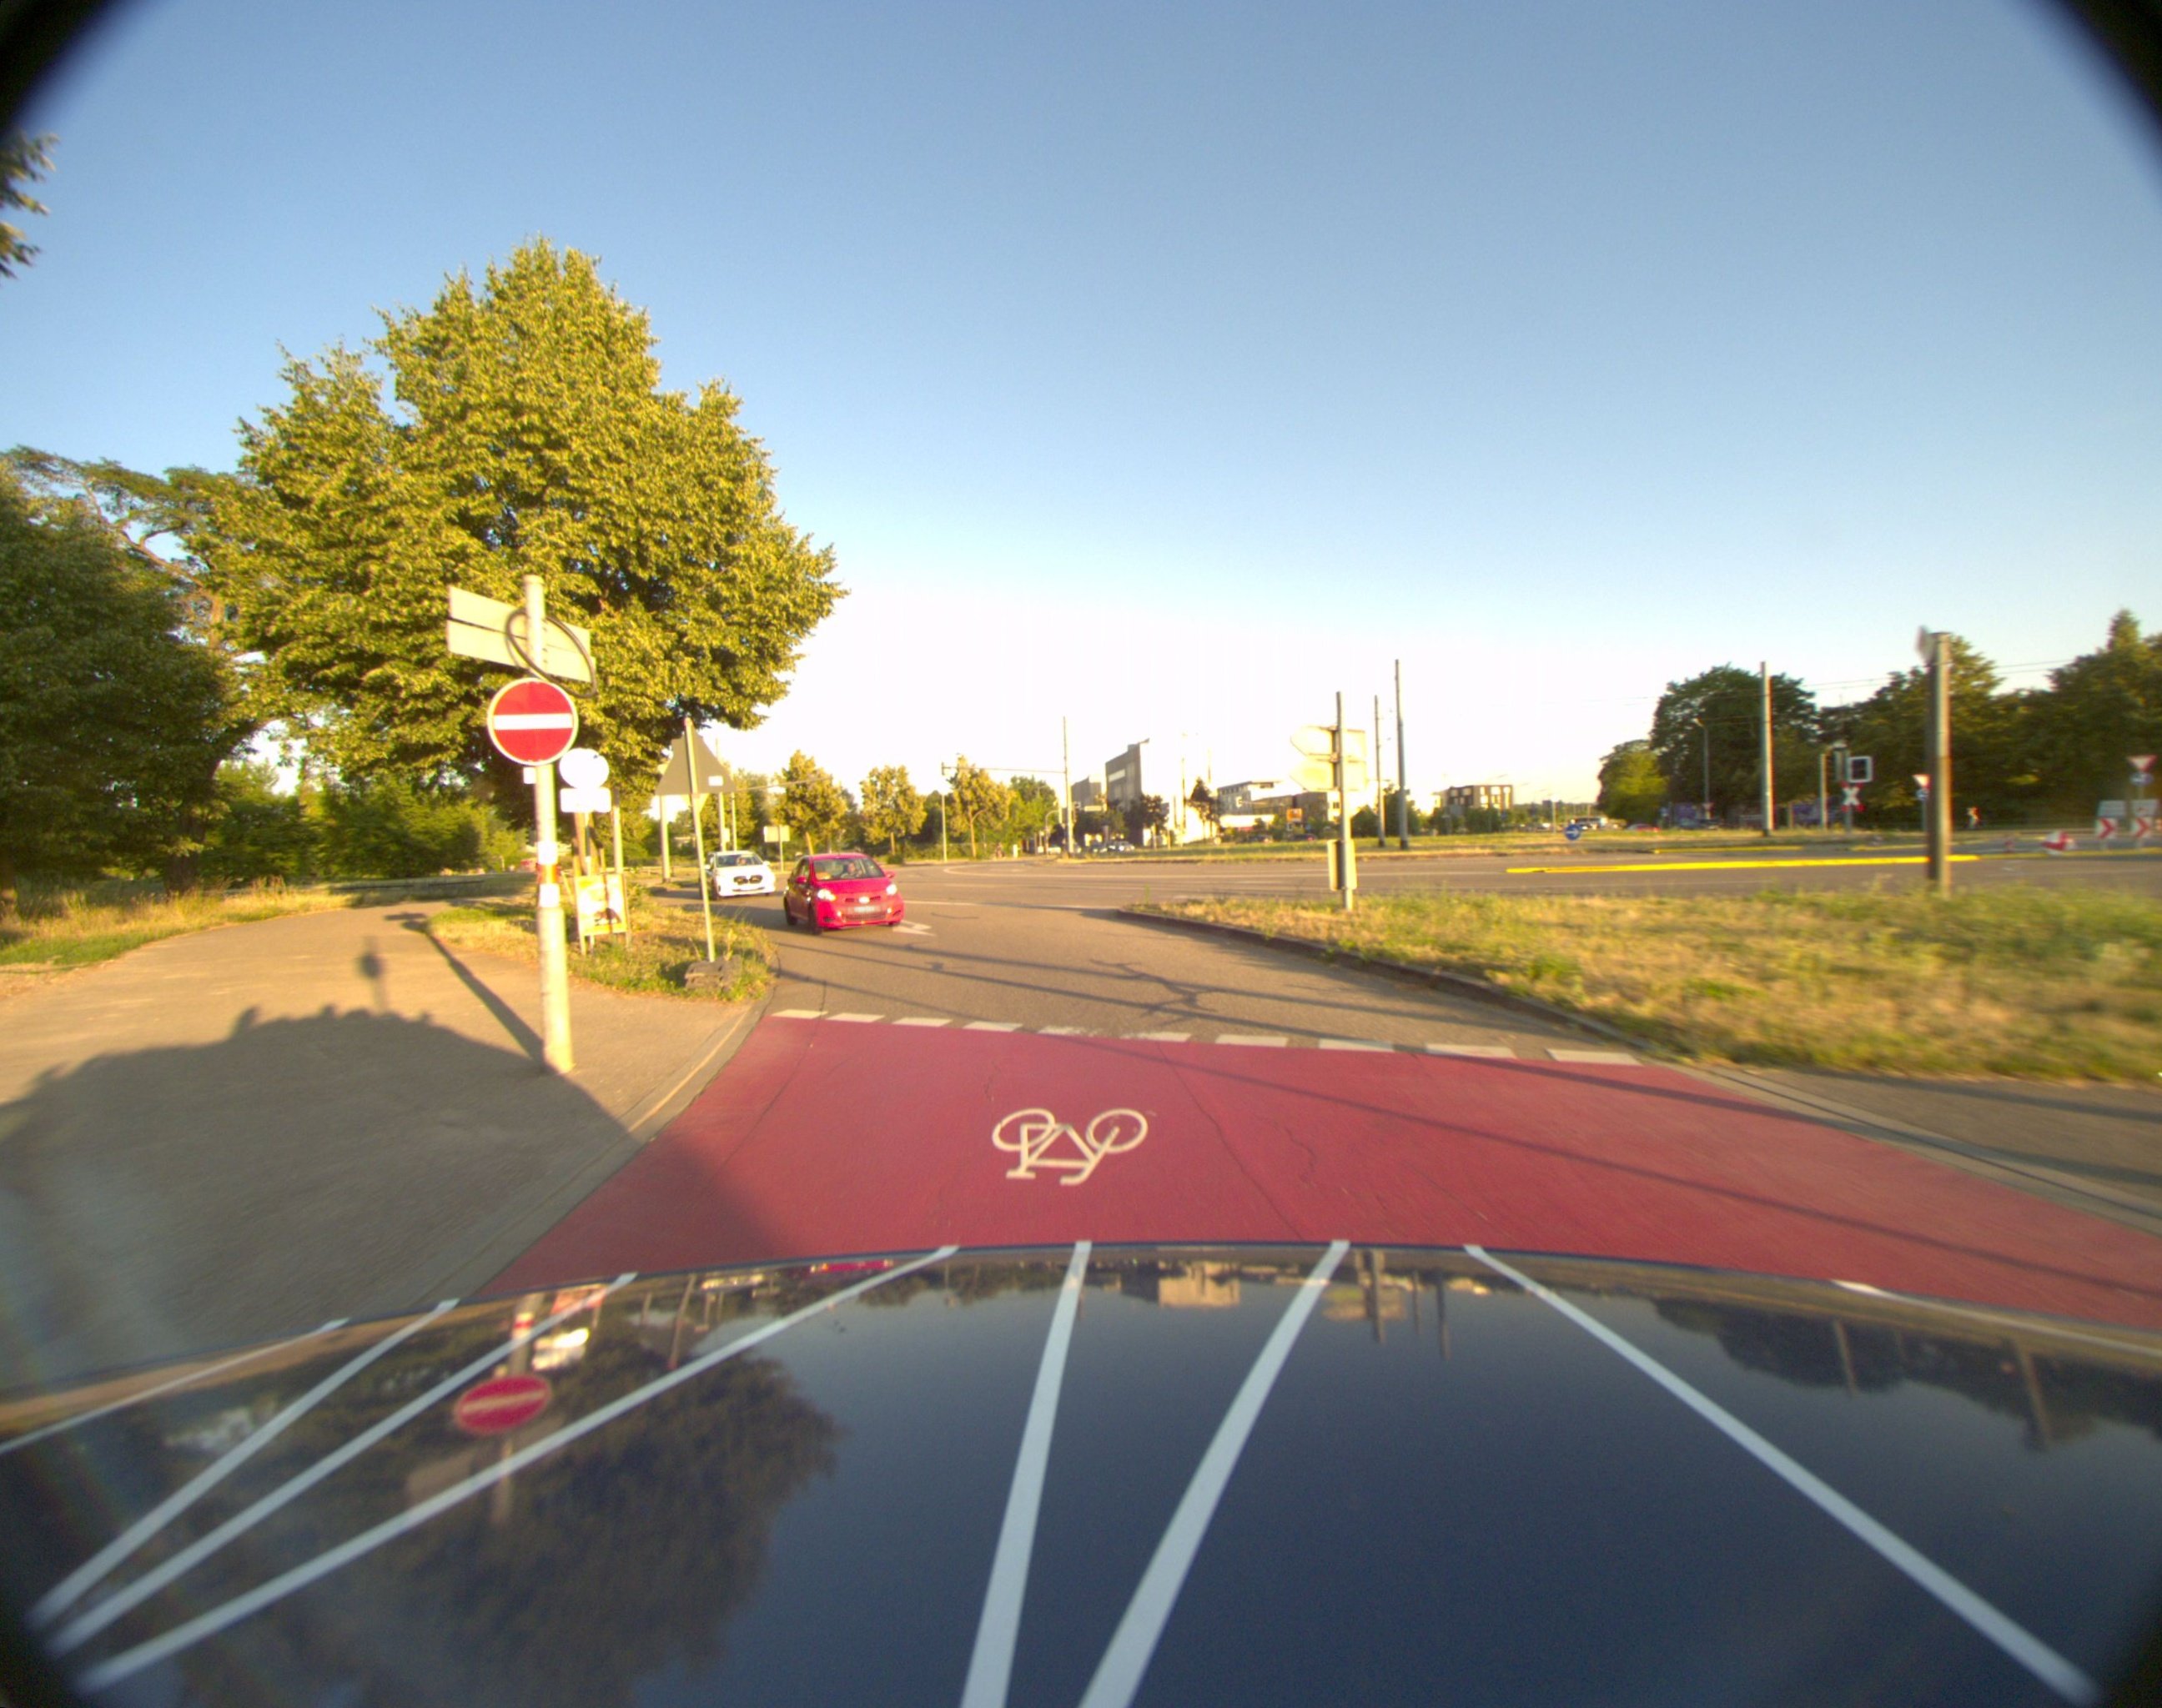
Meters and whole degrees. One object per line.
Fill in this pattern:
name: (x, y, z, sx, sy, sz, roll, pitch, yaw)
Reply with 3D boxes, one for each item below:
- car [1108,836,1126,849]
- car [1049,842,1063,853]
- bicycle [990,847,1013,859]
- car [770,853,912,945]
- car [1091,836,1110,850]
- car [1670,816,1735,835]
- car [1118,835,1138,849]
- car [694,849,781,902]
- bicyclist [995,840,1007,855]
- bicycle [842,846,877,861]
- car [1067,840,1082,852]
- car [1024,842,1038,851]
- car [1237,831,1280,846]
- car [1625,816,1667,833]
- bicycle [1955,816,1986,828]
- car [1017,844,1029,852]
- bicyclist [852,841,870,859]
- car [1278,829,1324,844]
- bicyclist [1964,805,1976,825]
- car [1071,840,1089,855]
car: (4.874, -1.589, 102.800, 1.872, 1.616, 4.189, -2, 2, -5)
car: (-3.884, -1.063, 118.375, 1.873, 1.616, 4.189, -2, 2, -6)
bicycle: (-8.693, -0.125, 83.365, 2.331, 1.172, 0.809, -3, 2, -22)
car: (-4.904, 0.757, 15.147, 1.697, 1.414, 4.200, -5, 3, -30)
car: (2.482, -1.394, 97.297, 1.872, 1.616, 4.189, -2, 2, -5)
car: (51.880, -2.346, 63.571, 1.943, 1.424, 4.320, -2, 1, 1)
car: (5.961, -1.572, 96.355, 1.872, 1.616, 4.189, -2, 2, -5)
car: (-11.478, 0.667, 25.235, 1.763, 1.549, 4.203, -3, 2, -36)
bicyclist: (-8.766, -0.695, 83.300, 1.002, 1.623, 0.809, -3, 2, -22)
bicycle: (-23.332, -0.052, 80.042, 3.532, 1.387, 1.125, -2, 2, 18)
car: (-1.015, -1.269, 117.826, 1.873, 1.616, 4.189, -2, 2, -6)
car: (-9.435, -1.428, 143.357, 1.873, 1.616, 4.187, -3, 2, -12)
car: (19.224, -1.632, 82.498, 1.845, 1.492, 4.243, -4, 2, -40)
car: (53.730, -2.781, 72.336, 1.940, 1.424, 4.600, -2, 1, 20)
bicycle: (66.001, -2.379, 56.414, 0.474, 0.787, 1.416, -3, 2, -19)
car: (-12.534, -1.340, 164.384, 1.873, 1.616, 4.187, -3, 2, -12)
bicyclist: (-23.163, -0.427, 79.975, 1.414, 1.739, 1.125, -2, 2, 18)
car: (23.966, -1.893, 82.929, 4.390, 1.424, 1.948, -1, 2, 41)
bicyclist: (65.981, -2.896, 56.379, 0.474, 1.390, 0.447, -3, 2, -19)
car: (-0.130, -0.872, 98.079, 1.872, 1.740, 3.849, -2, 2, -5)
